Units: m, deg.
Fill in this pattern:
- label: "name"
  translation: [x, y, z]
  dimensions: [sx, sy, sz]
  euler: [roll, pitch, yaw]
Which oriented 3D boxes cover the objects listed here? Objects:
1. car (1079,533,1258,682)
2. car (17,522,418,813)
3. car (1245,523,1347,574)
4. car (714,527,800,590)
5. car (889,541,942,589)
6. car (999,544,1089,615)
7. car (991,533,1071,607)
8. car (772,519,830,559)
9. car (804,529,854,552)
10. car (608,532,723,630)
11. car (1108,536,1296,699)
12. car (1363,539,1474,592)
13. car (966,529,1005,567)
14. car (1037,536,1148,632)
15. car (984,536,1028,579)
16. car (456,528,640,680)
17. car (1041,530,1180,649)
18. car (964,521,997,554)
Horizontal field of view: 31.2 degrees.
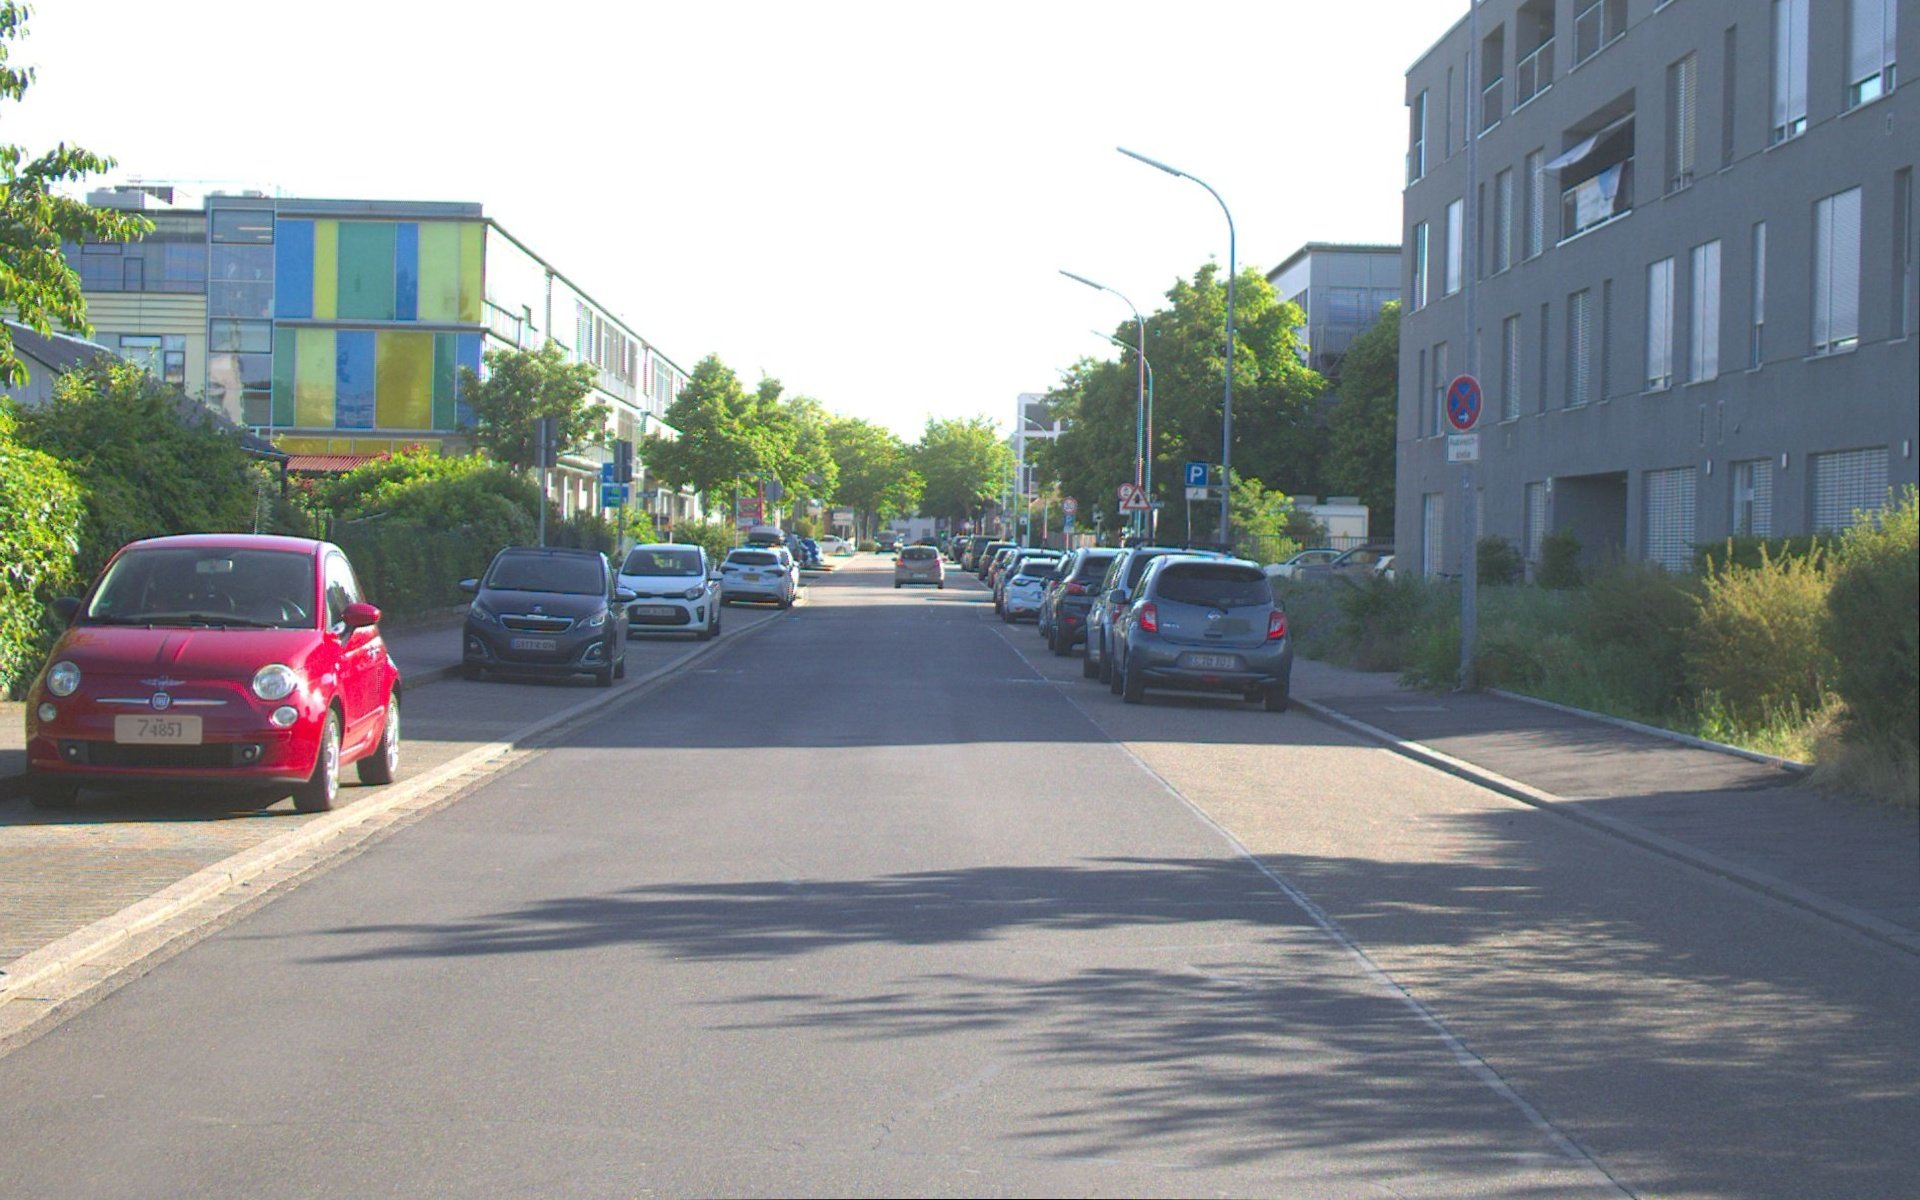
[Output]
- label: "car"
  translation: [2.440, 0.044, 41.135]
  dimensions: [1.676, 1.603, 4.179]
  euler: [3, 1, -2]
- label: "car"
  translation: [-4.119, 0.319, 19.557]
  dimensions: [1.559, 1.489, 3.571]
  euler: [1, 1, -1]
- label: "car"
  translation: [11.112, -1.703, 113.917]
  dimensions: [3.216, 1.544, 1.450]
  euler: [3, 1, 2]
- label: "car"
  translation: [-4.936, -1.020, 83.971]
  dimensions: [1.854, 1.423, 4.134]
  euler: [3, 1, -1]
- label: "car"
  translation: [-1.553, -1.201, 118.373]
  dimensions: [1.689, 1.544, 3.614]
  euler: [3, 1, -2]
- label: "car"
  translation: [1.807, -0.474, 75.208]
  dimensions: [1.741, 1.423, 4.134]
  euler: [3, 1, -1]
- label: "car"
  translation: [1.662, -0.726, 81.214]
  dimensions: [1.632, 1.625, 3.614]
  euler: [3, 1, -2]
- label: "car"
  translation: [-6.620, -2.543, 143.385]
  dimensions: [1.855, 1.558, 4.133]
  euler: [3, 1, 4]
- label: "car"
  translation: [-9.828, -4.481, 258.608]
  dimensions: [3.601, 1.544, 1.450]
  euler: [3, 1, -6]
- label: "car"
  translation: [-4.652, -0.331, 54.728]
  dimensions: [1.559, 1.489, 3.759]
  euler: [1, 1, -1]
- label: "car"
  translation: [2.482, 0.141, 36.040]
  dimensions: [1.622, 1.521, 3.902]
  euler: [3, 1, 0]
- label: "car"
  translation: [14.126, -1.074, 105.974]
  dimensions: [3.216, 1.455, 1.450]
  euler: [3, 1, 2]
- label: "car"
  translation: [1.069, -2.217, 145.829]
  dimensions: [1.445, 1.544, 3.614]
  euler: [3, 1, -2]
- label: "car"
  translation: [2.292, -0.303, 60.266]
  dimensions: [1.657, 1.546, 3.851]
  euler: [3, 1, -1]
- label: "car"
  translation: [1.727, -1.618, 129.837]
  dimensions: [1.445, 1.544, 3.614]
  euler: [3, 1, -2]
- label: "car"
  translation: [-4.468, 0.013, 37.686]
  dimensions: [1.559, 1.489, 3.571]
  euler: [4, 1, -1]
- label: "car"
  translation: [2.204, -0.185, 51.270]
  dimensions: [1.741, 1.619, 4.179]
  euler: [3, 1, -1]
- label: "car"
  translation: [1.035, -3.101, 171.231]
  dimensions: [1.445, 1.544, 3.614]
  euler: [3, 1, -2]
